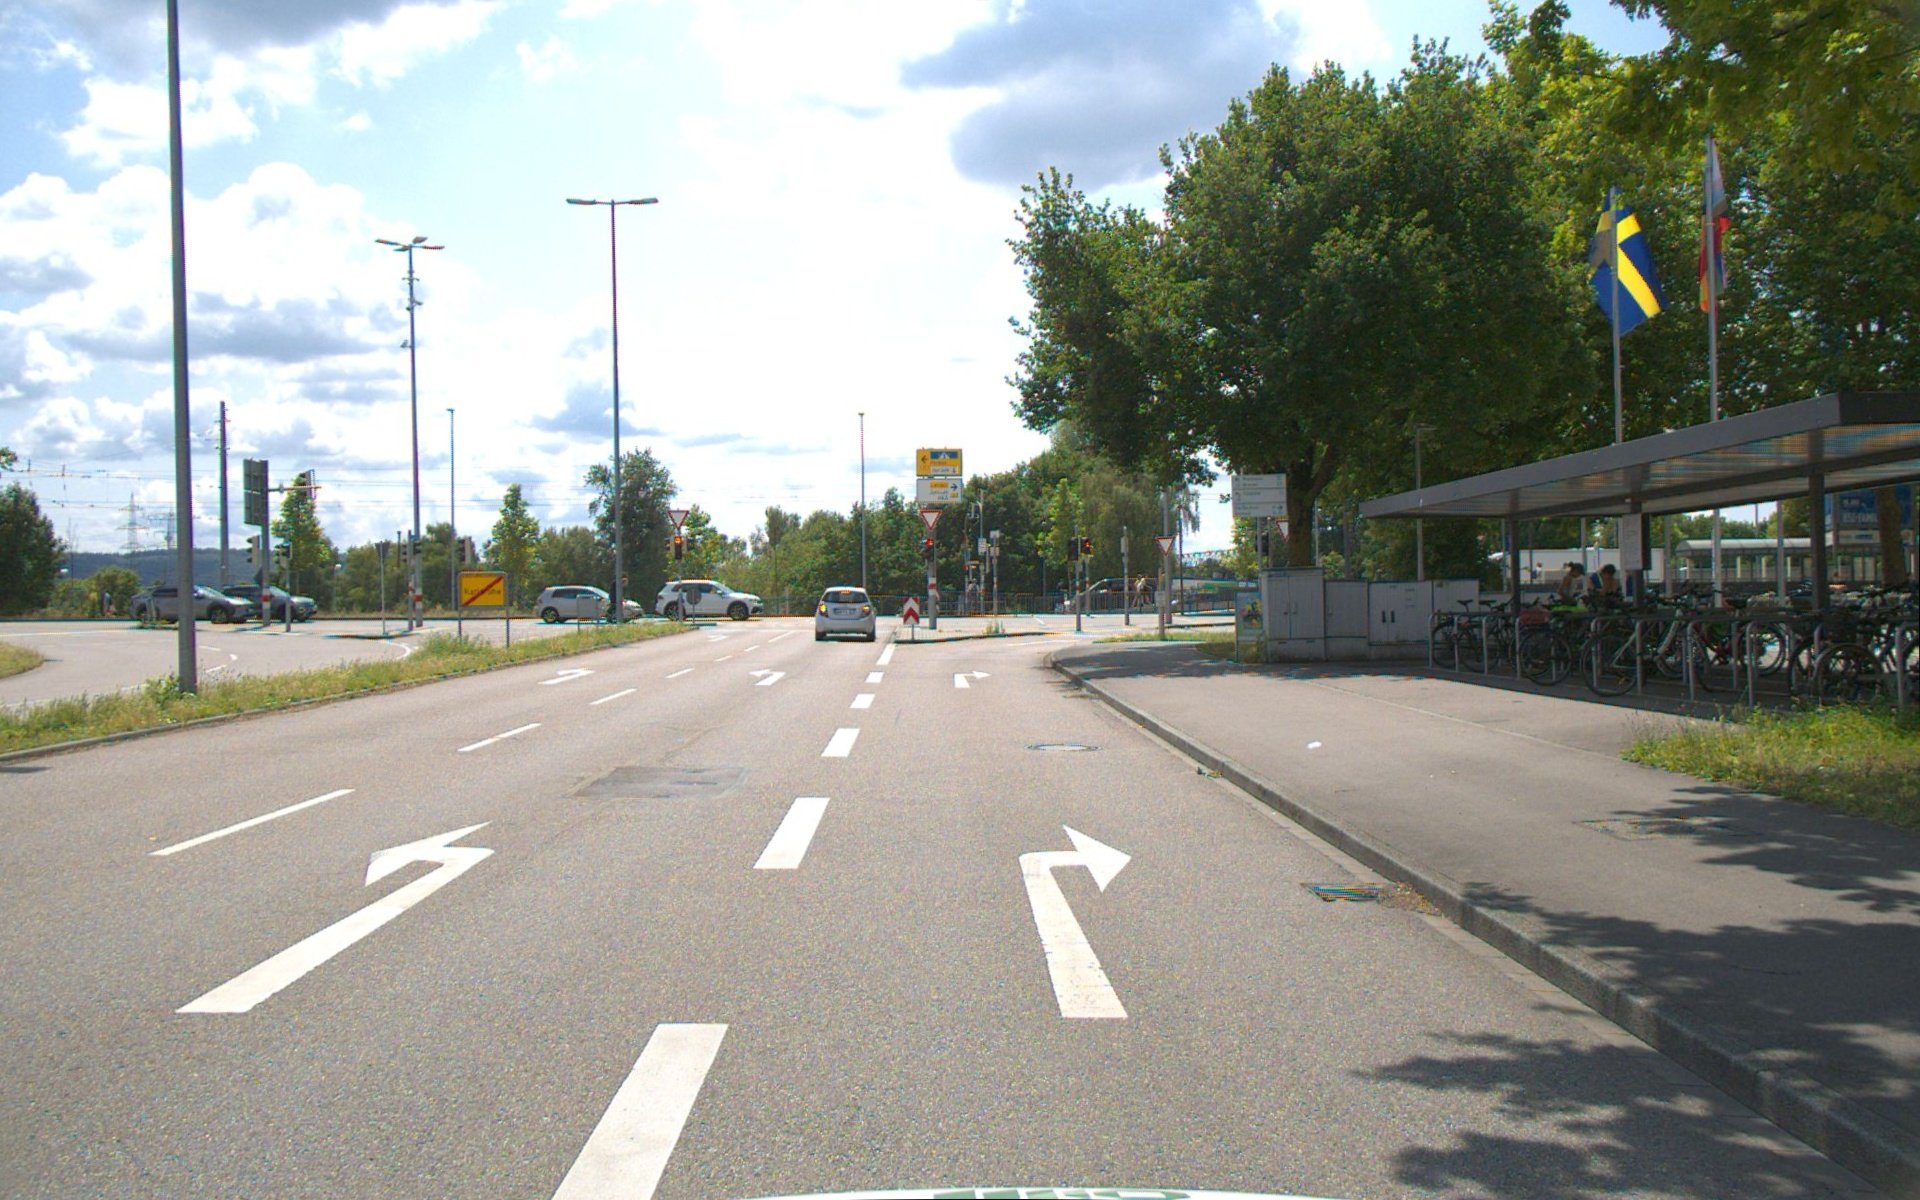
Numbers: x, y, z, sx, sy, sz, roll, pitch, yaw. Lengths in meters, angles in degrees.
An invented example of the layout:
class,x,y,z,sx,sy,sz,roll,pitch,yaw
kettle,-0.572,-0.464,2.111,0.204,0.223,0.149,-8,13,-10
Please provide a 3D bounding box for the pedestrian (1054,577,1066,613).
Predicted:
class,x,y,z,sx,sy,sz,roll,pitch,yaw
pedestrian,4.905,-0.266,81.372,0.512,1.751,0.730,-2,0,2

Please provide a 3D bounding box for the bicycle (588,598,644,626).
class,x,y,z,sx,sy,sz,roll,pitch,yaw
bicycle,-13.044,0.448,62.682,1.976,1.016,0.622,1,0,-2

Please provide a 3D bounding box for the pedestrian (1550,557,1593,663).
class,x,y,z,sx,sy,sz,roll,pitch,yaw
pedestrian,9.887,0.153,26.750,0.532,1.691,0.546,-1,1,10

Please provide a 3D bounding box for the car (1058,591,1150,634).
class,x,y,z,sx,sy,sz,roll,pitch,yaw
car,6.536,0.566,75.477,3.908,1.814,1.909,-2,0,-3

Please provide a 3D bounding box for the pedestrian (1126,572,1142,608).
class,x,y,z,sx,sy,sz,roll,pitch,yaw
pedestrian,8.728,-0.510,82.959,0.691,1.751,0.601,-2,0,1

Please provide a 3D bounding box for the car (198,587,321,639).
class,x,y,z,sx,sy,sz,roll,pitch,yaw
car,-29.246,0.534,69.130,4.261,2.024,1.999,-2,0,-2

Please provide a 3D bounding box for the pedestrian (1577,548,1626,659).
class,x,y,z,sx,sy,sz,roll,pitch,yaw
pedestrian,9.980,0.053,25.754,0.533,1.691,0.478,-1,0,-3

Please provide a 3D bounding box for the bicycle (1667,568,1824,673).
class,x,y,z,sx,sy,sz,roll,pitch,yaw
bicycle,10.041,0.255,21.158,1.826,1.253,0.423,-2,0,-6

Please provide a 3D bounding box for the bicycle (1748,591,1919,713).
class,x,y,z,sx,sy,sz,roll,pitch,yaw
bicycle,8.342,0.466,15.393,1.826,1.012,0.423,-3,0,-6

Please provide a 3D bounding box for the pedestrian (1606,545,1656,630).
class,x,y,z,sx,sy,sz,roll,pitch,yaw
pedestrian,17.097,-0.317,42.157,0.986,2.108,0.975,-1,-1,13

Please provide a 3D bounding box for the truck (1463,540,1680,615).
class,x,y,z,sx,sy,sz,roll,pitch,yaw
truck,36.047,-1.336,97.672,11.715,4.176,2.952,-1,0,-1

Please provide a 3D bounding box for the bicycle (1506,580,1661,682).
class,x,y,z,sx,sy,sz,roll,pitch,yaw
bicycle,7.929,0.387,21.048,1.826,1.208,0.423,-2,0,-6

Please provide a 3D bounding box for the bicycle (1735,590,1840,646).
class,x,y,z,sx,sy,sz,roll,pitch,yaw
bicycle,15.904,0.343,31.778,1.826,1.012,0.464,-1,0,-6

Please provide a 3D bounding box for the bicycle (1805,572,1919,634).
class,x,y,z,sx,sy,sz,roll,pitch,yaw
bicycle,16.126,0.059,29.588,1.826,1.012,0.423,-3,-1,-6

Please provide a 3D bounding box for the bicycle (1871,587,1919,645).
class,x,y,z,sx,sy,sz,roll,pitch,yaw
bicycle,15.923,0.234,27.079,1.826,0.897,0.423,-3,0,-6

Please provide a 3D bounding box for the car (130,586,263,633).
class,x,y,z,sx,sy,sz,roll,pitch,yaw
car,-30.551,0.390,66.275,4.414,1.704,1.903,-2,0,-2

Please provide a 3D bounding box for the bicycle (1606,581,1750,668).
class,x,y,z,sx,sy,sz,roll,pitch,yaw
bicycle,9.993,0.338,23.032,1.826,1.135,0.423,-2,-1,-6

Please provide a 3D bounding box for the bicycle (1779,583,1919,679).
class,x,y,z,sx,sy,sz,roll,pitch,yaw
bicycle,10.452,0.345,19.066,1.826,1.012,0.423,-3,-1,-6

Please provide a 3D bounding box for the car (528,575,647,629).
class,x,y,z,sx,sy,sz,roll,pitch,yaw
car,-14.839,0.082,66.096,4.261,2.024,1.999,-2,0,-2

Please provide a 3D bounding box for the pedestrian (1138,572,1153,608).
class,x,y,z,sx,sy,sz,roll,pitch,yaw
pedestrian,9.197,-0.511,82.229,0.662,1.778,0.637,-1,2,1

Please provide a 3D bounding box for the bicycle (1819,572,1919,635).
class,x,y,z,sx,sy,sz,roll,pitch,yaw
bicycle,15.697,0.049,28.307,1.826,1.012,0.423,-2,0,-6

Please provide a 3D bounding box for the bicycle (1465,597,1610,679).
class,x,y,z,sx,sy,sz,roll,pitch,yaw
bicycle,7.850,0.510,22.477,1.826,1.012,0.423,-2,0,-6

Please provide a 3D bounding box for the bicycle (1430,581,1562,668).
class,x,y,z,sx,sy,sz,roll,pitch,yaw
bicycle,7.984,0.356,24.665,1.826,1.208,0.423,-2,0,-6

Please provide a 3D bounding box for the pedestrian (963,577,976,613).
class,x,y,z,sx,sy,sz,roll,pitch,yaw
pedestrian,0.483,-0.254,83.208,0.598,1.800,0.672,-1,0,0

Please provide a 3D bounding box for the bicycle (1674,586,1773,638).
class,x,y,z,sx,sy,sz,roll,pitch,yaw
bicycle,15.788,0.243,34.196,1.824,1.012,0.424,-2,0,0

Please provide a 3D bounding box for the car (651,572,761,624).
class,x,y,z,sx,sy,sz,roll,pitch,yaw
car,-10.590,-0.073,69.219,4.261,2.024,1.999,-2,0,-2

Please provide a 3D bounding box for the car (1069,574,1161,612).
class,x,y,z,sx,sy,sz,roll,pitch,yaw
car,8.112,-0.365,86.618,4.558,1.852,1.999,-2,0,-2

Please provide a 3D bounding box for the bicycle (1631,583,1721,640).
class,x,y,z,sx,sy,sz,roll,pitch,yaw
bicycle,15.324,0.236,35.395,1.891,1.127,0.501,-2,-2,-20

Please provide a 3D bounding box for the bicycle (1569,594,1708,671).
class,x,y,z,sx,sy,sz,roll,pitch,yaw
bicycle,9.712,0.456,23.683,1.826,1.012,0.423,-2,0,-6

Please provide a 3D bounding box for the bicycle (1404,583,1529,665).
class,x,y,z,sx,sy,sz,roll,pitch,yaw
bicycle,7.949,0.367,25.982,1.826,1.208,0.423,-2,0,-6

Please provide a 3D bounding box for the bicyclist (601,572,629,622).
class,x,y,z,sx,sy,sz,roll,pitch,yaw
bicyclist,-13.084,-0.131,62.678,0.902,1.878,0.611,-1,0,-2

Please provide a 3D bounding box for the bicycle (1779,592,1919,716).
class,x,y,z,sx,sy,sz,roll,pitch,yaw
bicycle,8.384,0.462,14.905,1.826,1.012,0.423,-3,0,-6

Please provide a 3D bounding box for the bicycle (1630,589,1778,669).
class,x,y,z,sx,sy,sz,roll,pitch,yaw
bicycle,10.062,0.393,22.384,1.826,1.012,0.423,-2,-1,-6

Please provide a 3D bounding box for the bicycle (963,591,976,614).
class,x,y,z,sx,sy,sz,roll,pitch,yaw
bicycle,0.487,0.107,83.244,0.606,1.106,1.722,-1,0,1

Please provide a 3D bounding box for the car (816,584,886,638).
class,x,y,z,sx,sy,sz,roll,pitch,yaw
car,-3.159,0.290,48.525,1.856,1.495,3.833,0,1,-1

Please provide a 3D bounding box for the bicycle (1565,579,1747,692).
class,x,y,z,sx,sy,sz,roll,pitch,yaw
bicycle,7.906,0.398,18.820,1.857,1.190,0.424,-3,0,0

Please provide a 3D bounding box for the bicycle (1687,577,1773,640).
class,x,y,z,sx,sy,sz,roll,pitch,yaw
bicycle,15.435,0.163,33.156,1.649,1.177,0.460,-2,0,-16

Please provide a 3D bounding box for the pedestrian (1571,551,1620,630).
class,x,y,z,sx,sy,sz,roll,pitch,yaw
pedestrian,15.988,-0.239,41.650,0.986,1.935,0.975,-1,-1,13

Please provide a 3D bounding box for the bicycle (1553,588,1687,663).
class,x,y,z,sx,sy,sz,roll,pitch,yaw
bicycle,9.952,0.375,24.944,1.824,1.052,0.424,-2,0,0
